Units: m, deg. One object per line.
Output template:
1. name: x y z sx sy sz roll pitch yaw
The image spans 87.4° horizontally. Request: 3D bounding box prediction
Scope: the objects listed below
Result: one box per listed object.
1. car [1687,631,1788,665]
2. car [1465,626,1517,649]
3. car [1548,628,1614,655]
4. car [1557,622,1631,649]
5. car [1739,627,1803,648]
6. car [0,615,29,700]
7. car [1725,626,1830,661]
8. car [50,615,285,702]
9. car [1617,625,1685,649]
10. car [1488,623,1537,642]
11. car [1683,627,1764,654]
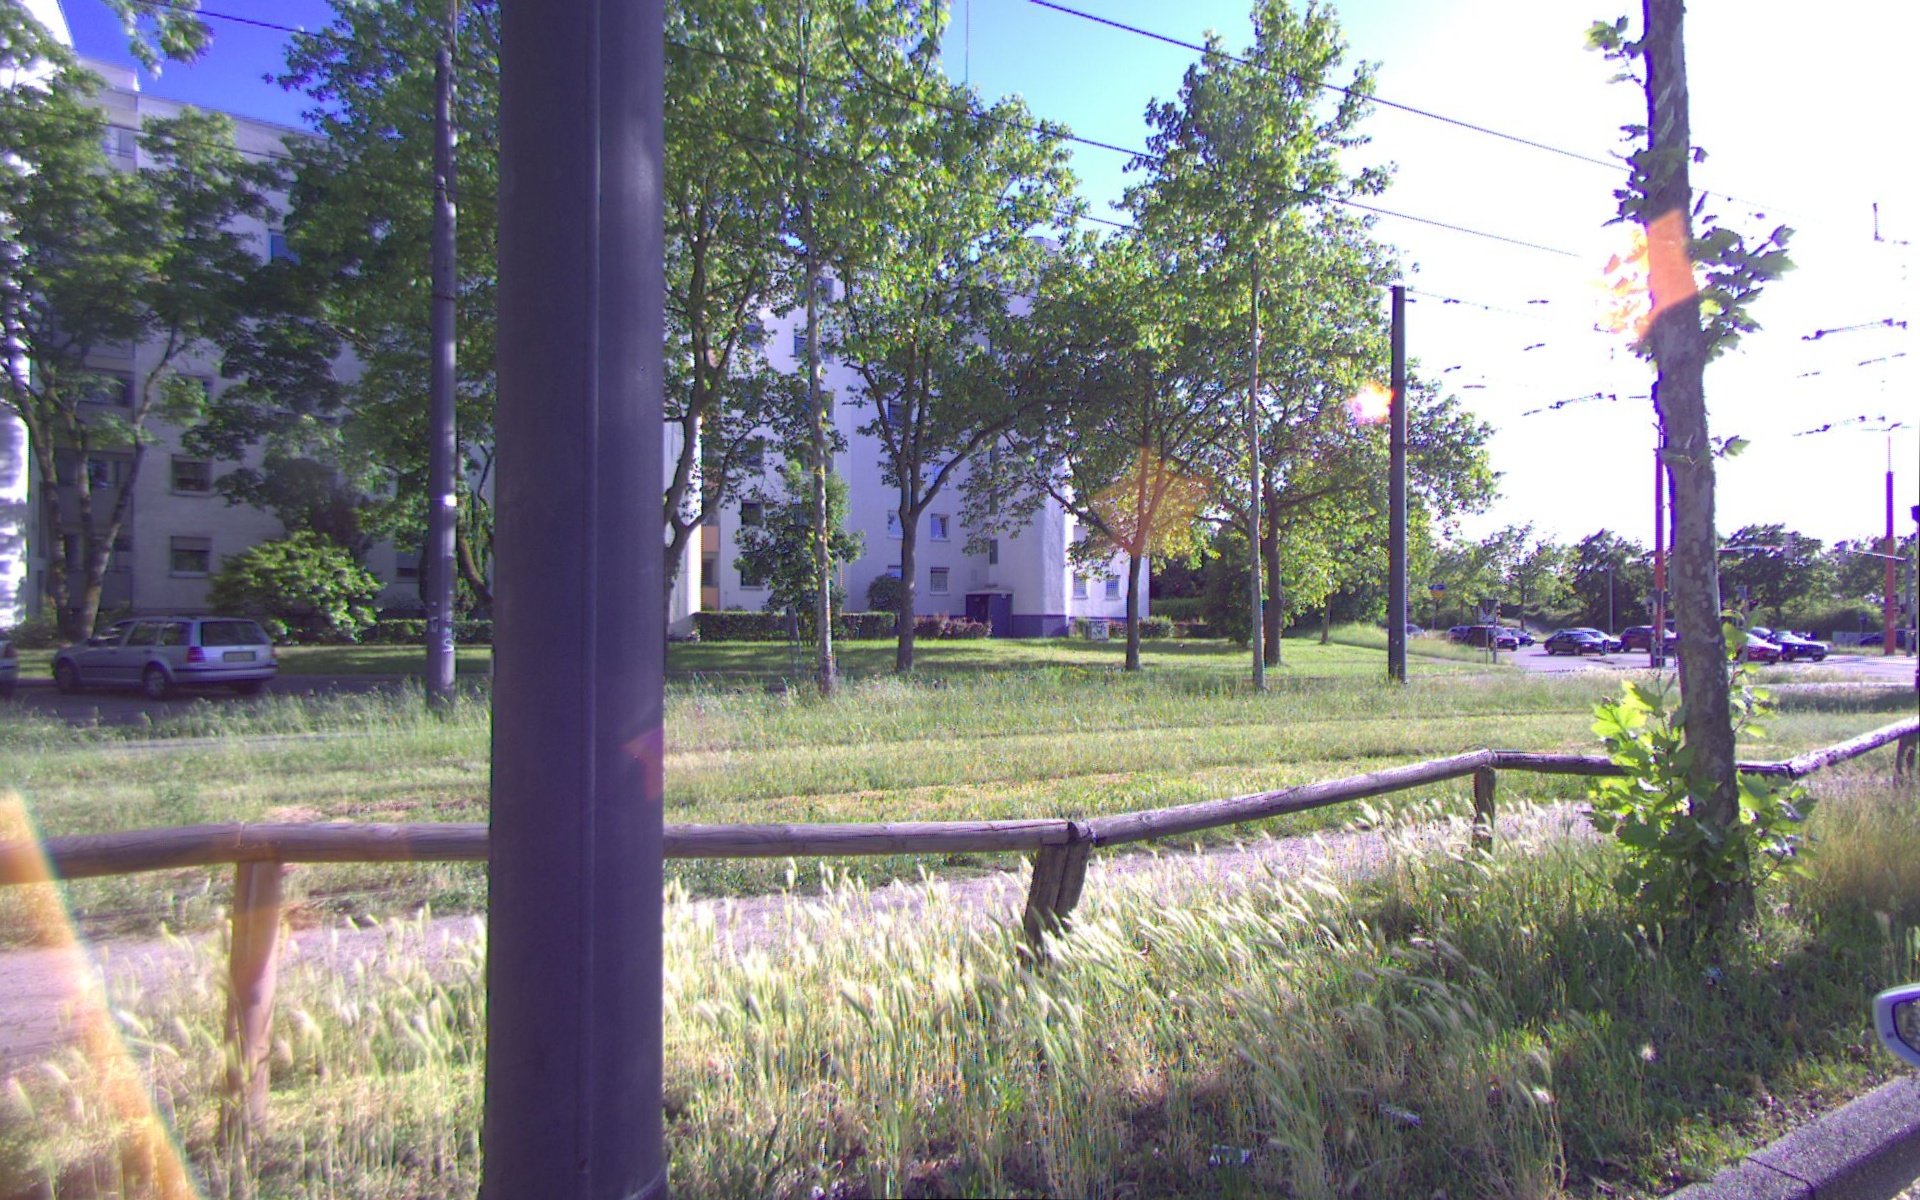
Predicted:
1. car: 38.861 2.367 50.340 1.625 1.540 4.197 1 -1 -5
2. car: 38.780 2.692 73.432 1.624 1.540 4.200 1 -1 1
3. car: 39.316 2.622 63.732 1.624 1.540 4.200 1 -1 1
4. car: 42.630 2.375 67.669 1.723 1.669 4.640 1 -1 -5
5. car: 63.004 2.881 78.088 1.625 1.476 3.925 1 -1 -3
6. car: -17.981 0.948 17.158 3.567 1.421 1.581 1 0 20
7. car: 42.661 2.221 52.549 1.721 1.669 4.644 1 -1 1
8. car: -14.532 1.011 18.433 3.830 1.421 1.581 1 0 20
9. car: 45.403 2.427 66.085 1.513 1.434 4.154 1 -1 -3
10. car: 45.007 2.651 81.920 1.513 1.434 4.154 1 -1 -3
11. car: 45.578 2.393 60.066 1.513 1.434 4.154 1 -1 -3
